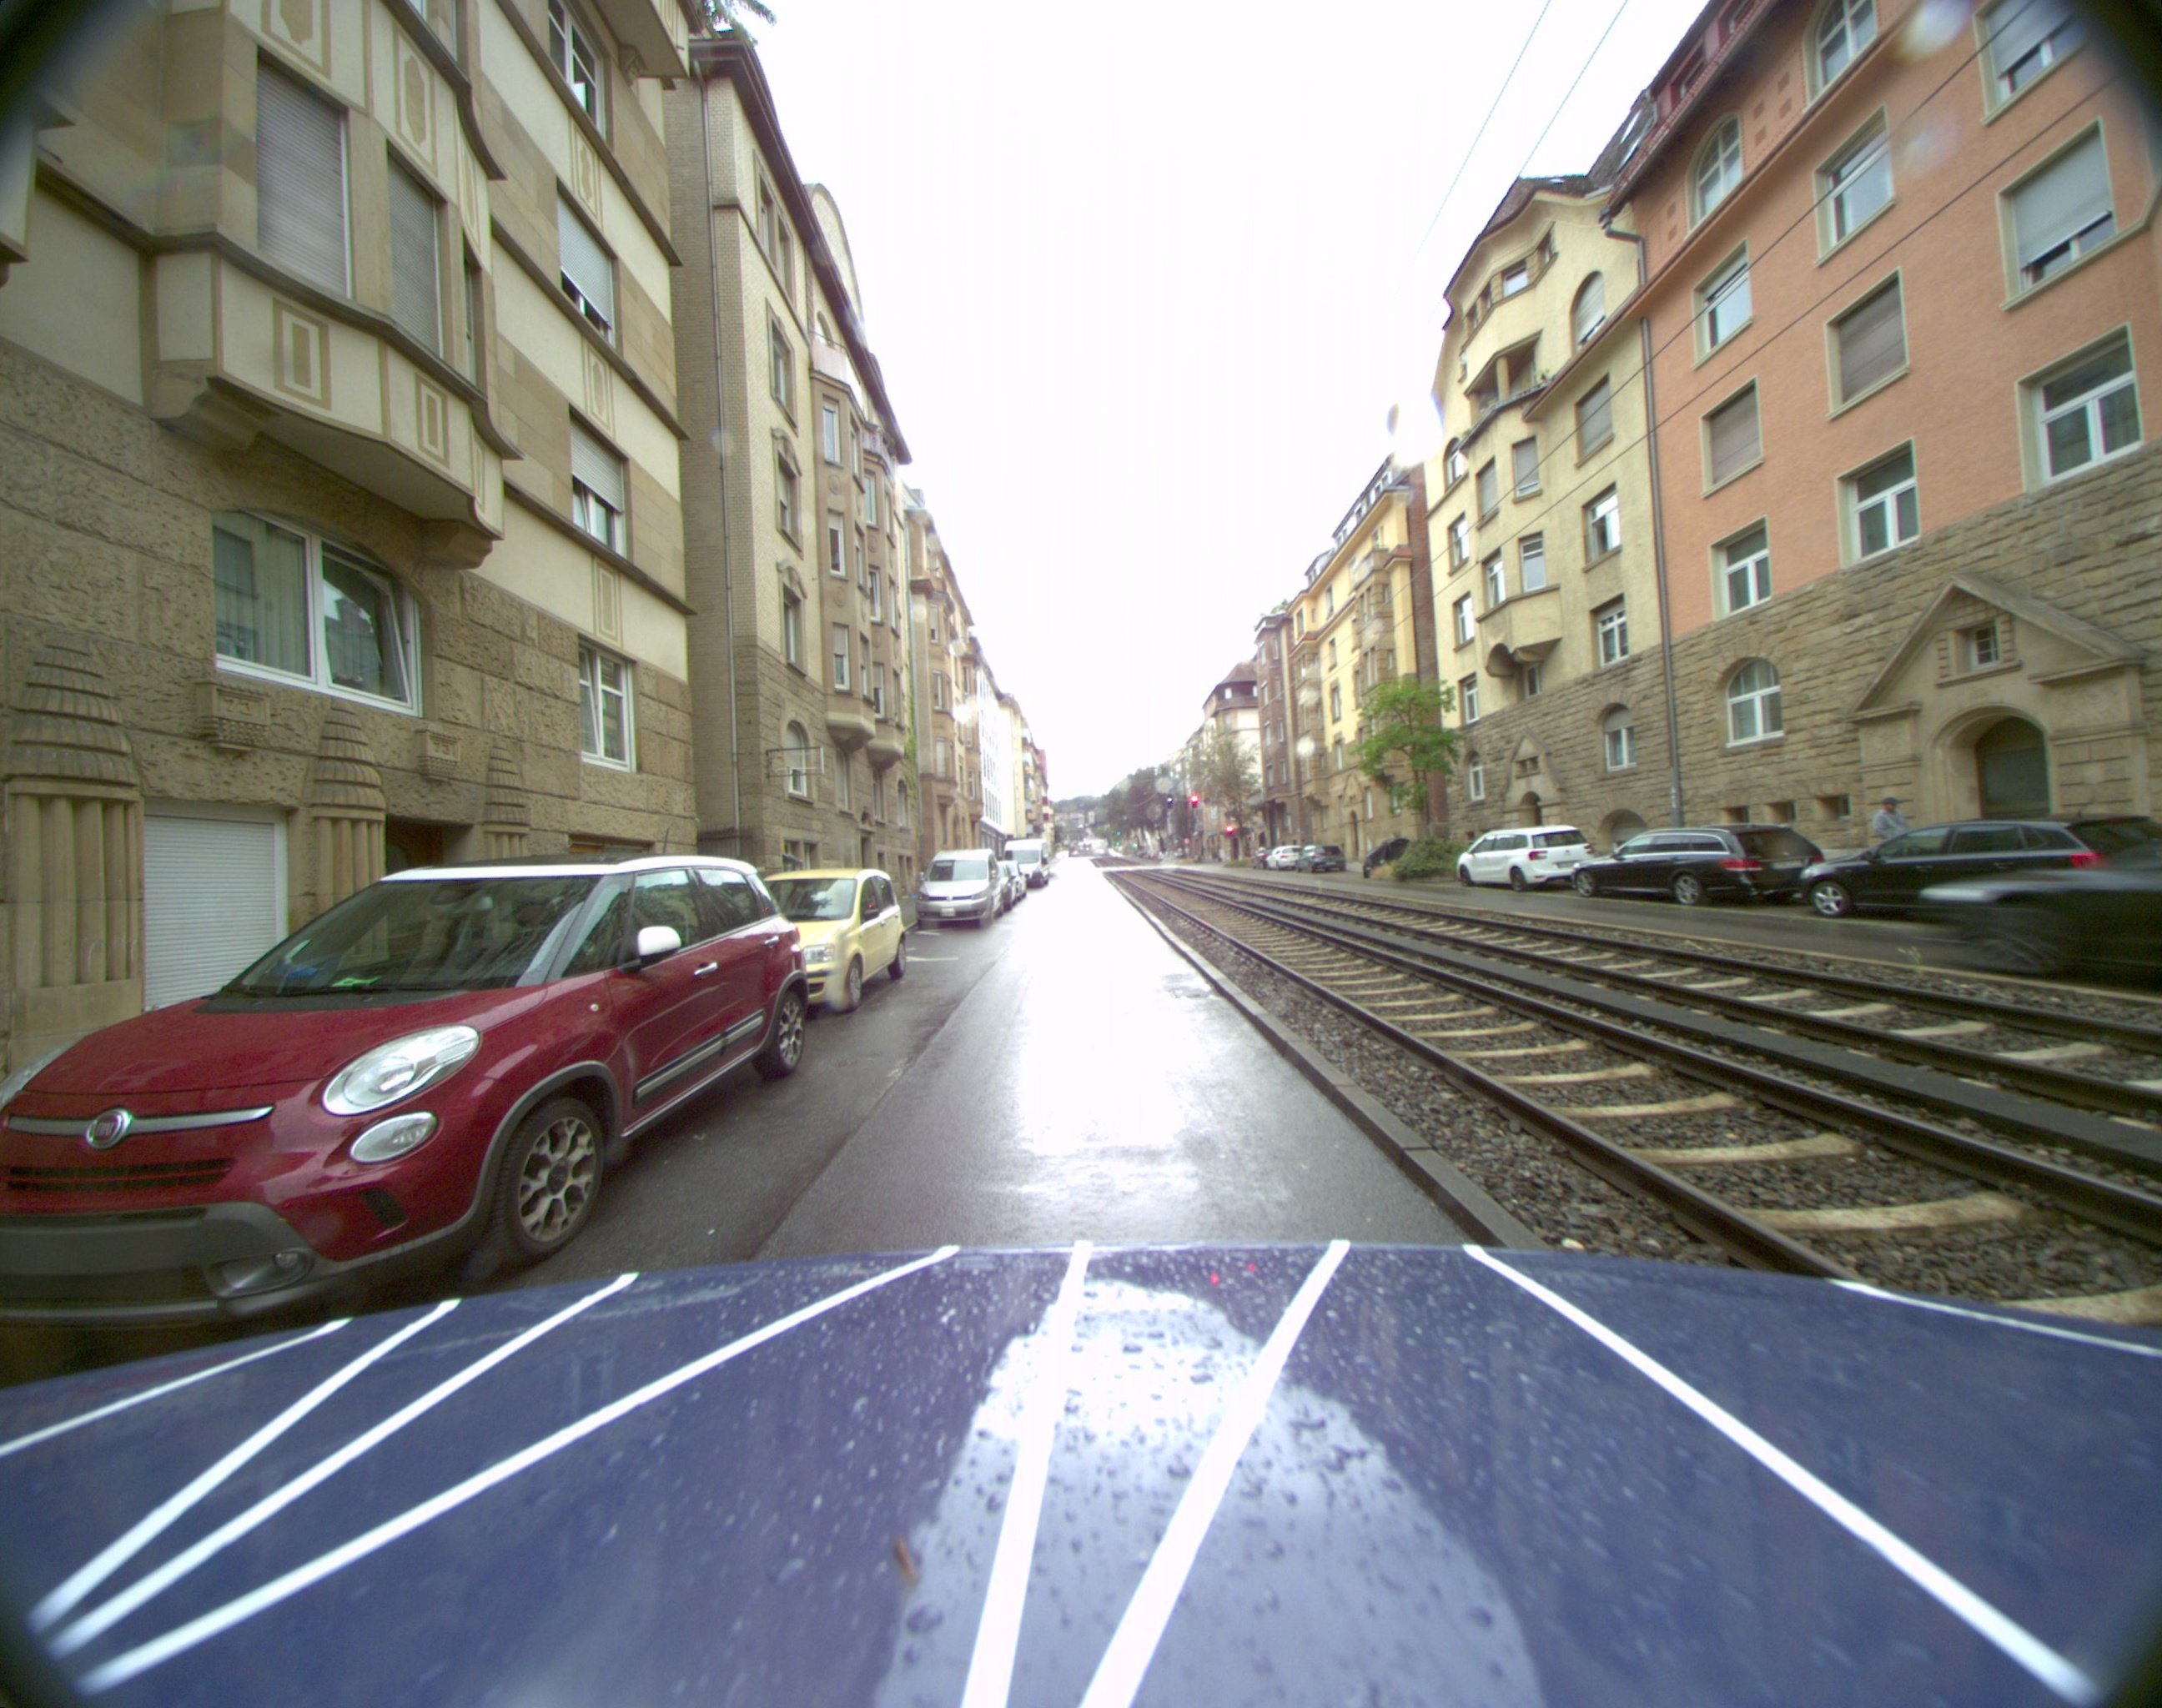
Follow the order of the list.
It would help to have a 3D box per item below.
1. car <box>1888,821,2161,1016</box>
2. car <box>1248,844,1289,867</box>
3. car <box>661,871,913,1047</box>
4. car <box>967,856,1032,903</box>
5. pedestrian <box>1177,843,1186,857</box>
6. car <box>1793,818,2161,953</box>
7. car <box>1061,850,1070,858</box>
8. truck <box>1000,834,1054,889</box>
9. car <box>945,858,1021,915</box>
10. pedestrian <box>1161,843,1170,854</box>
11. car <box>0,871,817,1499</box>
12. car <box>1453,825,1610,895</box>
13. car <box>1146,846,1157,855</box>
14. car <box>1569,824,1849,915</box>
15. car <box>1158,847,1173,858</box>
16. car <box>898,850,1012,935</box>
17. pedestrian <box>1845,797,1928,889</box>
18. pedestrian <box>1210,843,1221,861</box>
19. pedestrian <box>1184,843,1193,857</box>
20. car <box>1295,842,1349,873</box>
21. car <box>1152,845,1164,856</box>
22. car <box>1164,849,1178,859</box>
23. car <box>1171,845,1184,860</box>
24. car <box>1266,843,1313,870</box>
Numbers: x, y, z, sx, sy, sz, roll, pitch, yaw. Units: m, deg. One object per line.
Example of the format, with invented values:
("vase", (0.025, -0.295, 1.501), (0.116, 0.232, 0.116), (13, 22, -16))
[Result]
("car", (9.379, 0.484, 5.471), (1.808, 1.514, 4.964), (-2, 0, 0))
("car", (12.474, 0.091, 50.736), (1.771, 1.433, 3.845), (-3, 0, 1))
("car", (-3.194, 1.040, 9.027), (1.580, 1.520, 3.578), (-3, 0, -1))
("car", (-2.959, 0.887, 28.303), (1.891, 1.521, 3.929), (-3, 0, 1))
("pedestrian", (14.639, -0.537, 111.065), (1.056, 1.946, 1.163), (-3, 1, 2))
("car", (12.525, 0.327, 10.455), (1.935, 1.488, 3.642), (-2, 1, -2))
("car", (-3.964, -0.070, 194.710), (1.998, 1.838, 4.000), (-3, 0, 1))
("truck", (-2.731, 0.352, 39.932), (2.235, 2.521, 6.143), (-3, 0, 1))
("car", (-2.970, 0.943, 23.802), (1.999, 1.521, 3.999), (-3, 0, -3))
("pedestrian", (15.418, -0.960, 138.297), (1.380, 1.946, 1.379), (-3, 1, 2))
("car", (-3.037, 0.976, 4.079), (1.807, 1.590, 3.999), (-3, 0, -1))
("car", (12.268, 0.150, 21.035), (1.867, 1.646, 4.146), (-3, 0, 1))
("car", (12.418, -0.587, 133.693), (1.632, 1.537, 3.801), (-3, 0, 1))
("car", (12.287, 0.261, 15.373), (1.847, 1.486, 4.601), (-3, 0, 1))
("car", (12.855, -0.236, 115.354), (1.771, 1.507, 3.845), (-3, 0, 1))
("car", (-3.015, 0.852, 19.186), (1.968, 1.792, 4.459), (-3, 0, 1))
("pedestrian", (14.933, -0.196, 14.101), (0.701, 1.633, 0.765), (-2, 1, 1))
("pedestrian", (15.106, -0.249, 85.349), (1.056, 1.946, 1.163), (-3, 1, 2))
("pedestrian", (15.755, -0.575, 111.059), (1.056, 1.946, 1.163), (-3, 1, 2))
("car", (12.497, 0.151, 39.603), (1.678, 1.433, 3.845), (-4, 1, 3))
("car", (12.823, -0.589, 126.824), (1.657, 1.589, 3.775), (-3, 0, 1))
("car", (12.560, -0.051, 106.372), (1.583, 1.303, 3.845), (-3, 0, 1))
("car", (12.659, -0.198, 99.534), (1.583, 1.669, 3.790), (-3, 2, 7))
("car", (12.464, 0.143, 45.642), (1.771, 1.433, 4.031), (-3, 0, 2))
